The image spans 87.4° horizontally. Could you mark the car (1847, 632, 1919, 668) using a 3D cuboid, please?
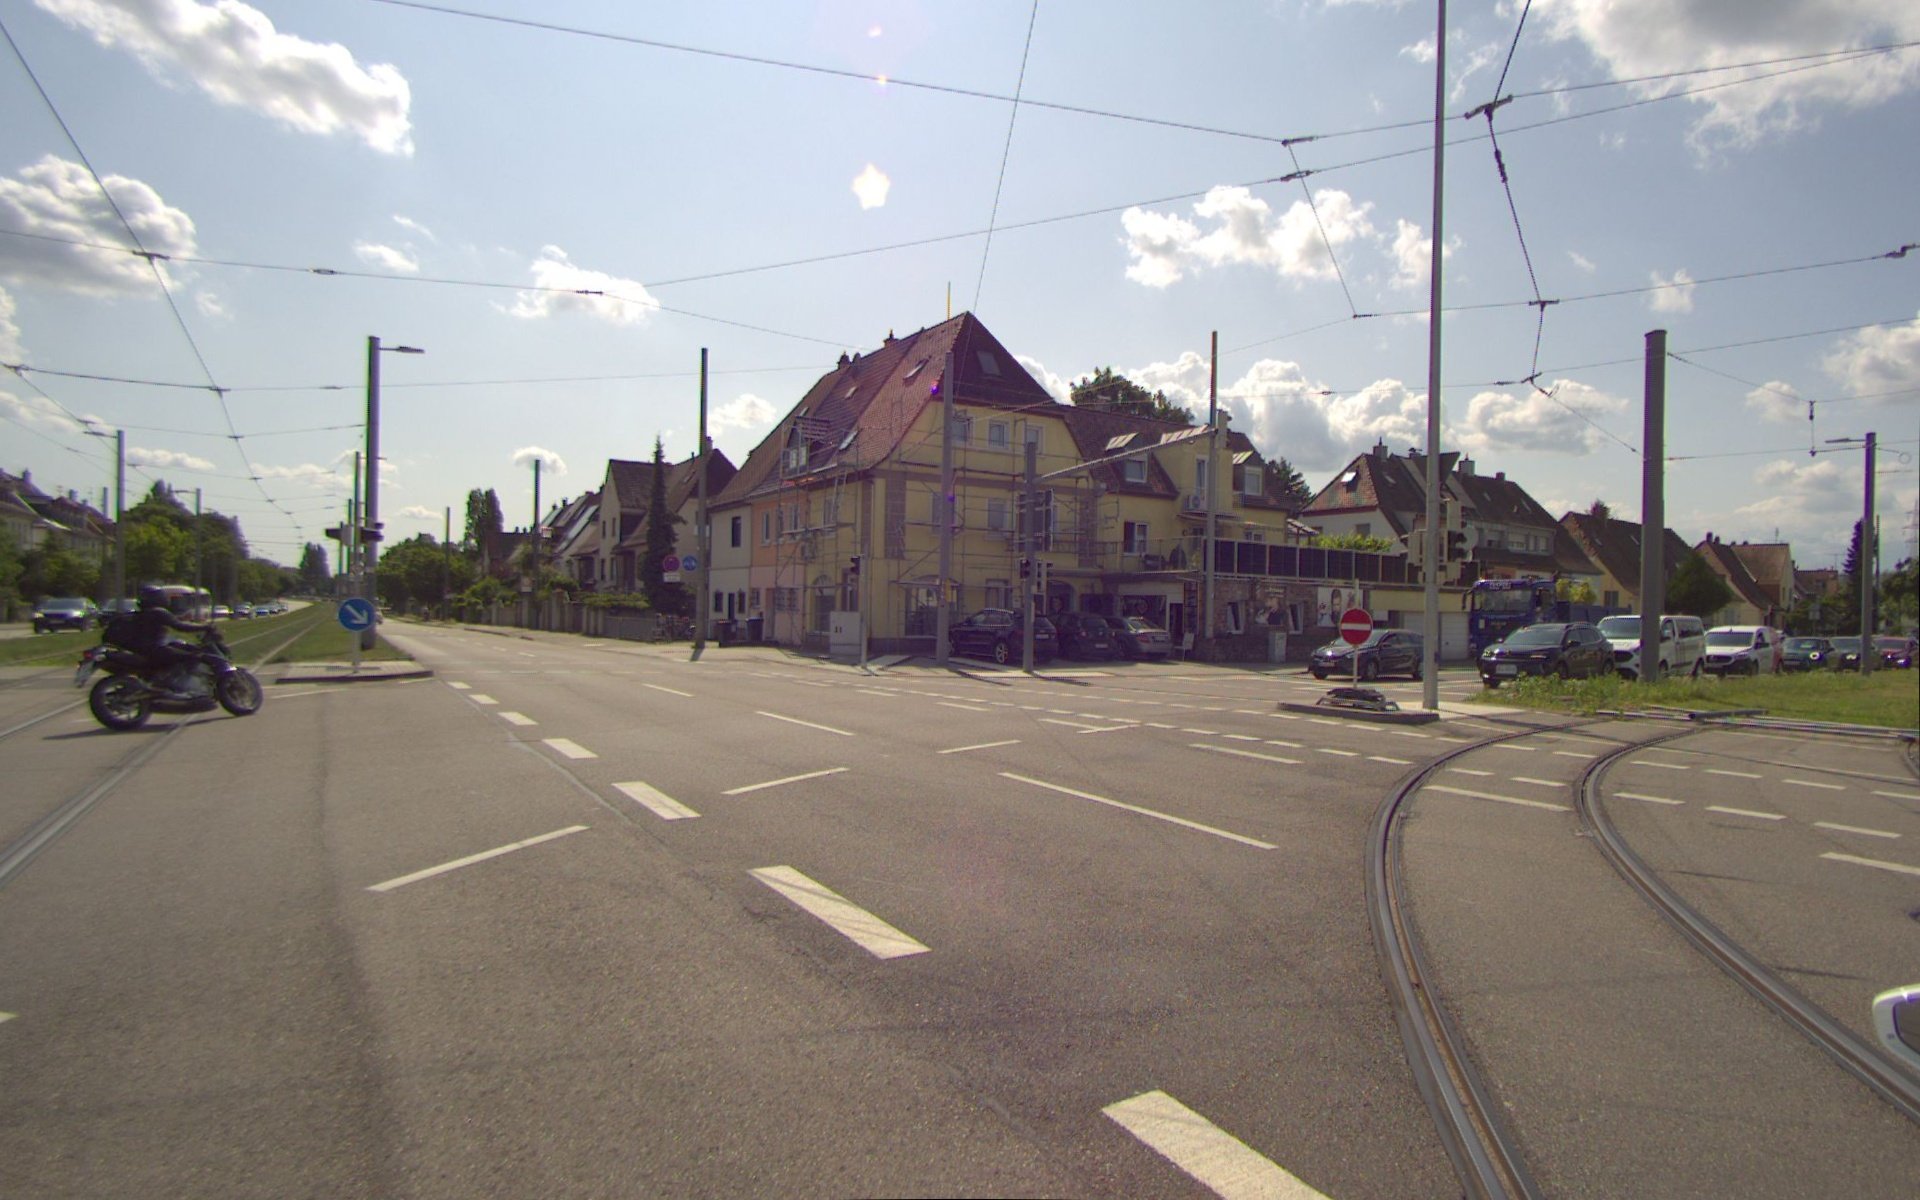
[{"bbox_3d":[42.891,2.293,46.456,4.811,1.513,1.830,2,-1,-37],"label":"car"}]

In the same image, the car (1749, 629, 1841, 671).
[{"bbox_3d":[31.896,1.894,38.350,3.964,1.437,1.900,2,-1,-38],"label":"car"}]

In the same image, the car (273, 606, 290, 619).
[{"bbox_3d":[-105.549,1.910,156.246,1.979,2.040,3.964,1,0,-33],"label":"car"}]

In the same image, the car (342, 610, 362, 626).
[{"bbox_3d":[-80.422,2.400,132.821,1.975,2.040,3.972,1,0,-27],"label":"car"}]

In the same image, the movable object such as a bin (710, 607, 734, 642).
[{"bbox_3d":[-8.910,0.907,37.618,0.674,1.277,0.677,1,1,-33],"label":"movable object such as a bin"}]

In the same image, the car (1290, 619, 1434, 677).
[{"bbox_3d":[11.728,1.392,29.213,4.291,1.506,1.816,2,-1,-35],"label":"car"}]

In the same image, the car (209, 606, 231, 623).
[{"bbox_3d":[-96.914,1.894,131.525,1.978,2.040,3.964,1,0,-32],"label":"car"}]

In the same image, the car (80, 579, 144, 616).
[{"bbox_3d":[-49.657,-0.138,58.928,1.975,2.040,3.972,1,0,-27],"label":"car"}]

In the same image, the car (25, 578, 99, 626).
[{"bbox_3d":[-40.946,0.077,45.901,1.884,2.040,3.681,2,-1,-32],"label":"car"}]

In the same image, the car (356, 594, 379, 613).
[{"bbox_3d":[-65.724,0.375,111.450,1.975,2.040,3.972,1,0,-27],"label":"car"}]

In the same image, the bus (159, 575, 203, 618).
[{"bbox_3d":[-73.415,-0.384,94.797,2.376,3.827,11.908,2,0,-34],"label":"bus"}]

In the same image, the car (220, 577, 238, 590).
[{"bbox_3d":[-120.221,-2.701,165.237,1.976,2.040,3.968,1,0,-30],"label":"car"}]

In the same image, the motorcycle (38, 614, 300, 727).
[{"bbox_3d":[-9.007,0.742,11.611,0.827,1.143,2.360,1,0,13],"label":"motorcycle"}]

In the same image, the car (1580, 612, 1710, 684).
[{"bbox_3d":[20.323,1.398,29.738,4.706,1.947,1.800,2,0,-38],"label":"car"}]

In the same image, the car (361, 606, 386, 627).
[{"bbox_3d":[-59.745,1.688,102.417,1.975,2.040,3.972,1,0,-27],"label":"car"}]

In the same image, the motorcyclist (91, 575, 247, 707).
[{"bbox_3d":[-9.035,0.433,11.519,0.809,1.417,1.100,0,3,13],"label":"motorcyclist"}]

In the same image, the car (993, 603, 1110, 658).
[{"bbox_3d":[2.971,0.968,33.377,1.493,1.513,4.104,2,2,-37],"label":"car"}]

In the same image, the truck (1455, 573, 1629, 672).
[{"bbox_3d":[21.032,0.829,36.117,7.515,3.230,2.747,2,-1,-38],"label":"truck"}]

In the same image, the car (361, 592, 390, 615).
[{"bbox_3d":[-52.516,0.316,90.305,1.975,2.040,3.972,1,0,-27],"label":"car"}]

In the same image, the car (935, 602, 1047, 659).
[{"bbox_3d":[0.902,0.920,31.650,1.168,1.513,4.104,2,2,-37],"label":"car"}]

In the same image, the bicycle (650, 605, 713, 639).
[{"bbox_3d":[-11.724,0.939,42.253,2.428,1.374,0.770,2,1,-29],"label":"bicycle"}]

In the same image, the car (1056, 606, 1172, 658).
[{"bbox_3d":[5.268,1.068,34.758,1.422,1.513,4.104,2,2,-37],"label":"car"}]

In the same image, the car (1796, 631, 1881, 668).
[{"bbox_3d":[37.259,2.079,42.561,4.872,1.432,1.829,2,-1,-38],"label":"car"}]

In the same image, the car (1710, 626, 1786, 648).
[{"bbox_3d":[58.786,2.715,74.972,1.972,1.486,4.079,1,0,-36],"label":"car"}]

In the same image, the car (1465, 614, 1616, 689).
[{"bbox_3d":[15.104,1.277,26.072,4.399,1.743,1.774,1,0,-36],"label":"car"}]

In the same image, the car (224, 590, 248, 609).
[{"bbox_3d":[-80.741,-0.054,112.066,1.980,2.040,3.962,2,0,-34],"label":"car"}]

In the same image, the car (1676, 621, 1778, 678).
[{"bbox_3d":[26.495,1.680,34.653,4.366,1.806,1.719,2,-1,-38],"label":"car"}]

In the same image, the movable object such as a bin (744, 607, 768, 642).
[{"bbox_3d":[-7.779,0.938,38.299,0.674,1.277,0.677,1,1,-33],"label":"movable object such as a bin"}]

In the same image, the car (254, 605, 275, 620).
[{"bbox_3d":[-95.226,1.675,137.623,1.976,2.040,3.968,1,0,-30],"label":"car"}]

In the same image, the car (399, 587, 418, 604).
[{"bbox_3d":[-70.480,-0.555,128.349,1.975,2.040,3.972,1,-1,-27],"label":"car"}]
